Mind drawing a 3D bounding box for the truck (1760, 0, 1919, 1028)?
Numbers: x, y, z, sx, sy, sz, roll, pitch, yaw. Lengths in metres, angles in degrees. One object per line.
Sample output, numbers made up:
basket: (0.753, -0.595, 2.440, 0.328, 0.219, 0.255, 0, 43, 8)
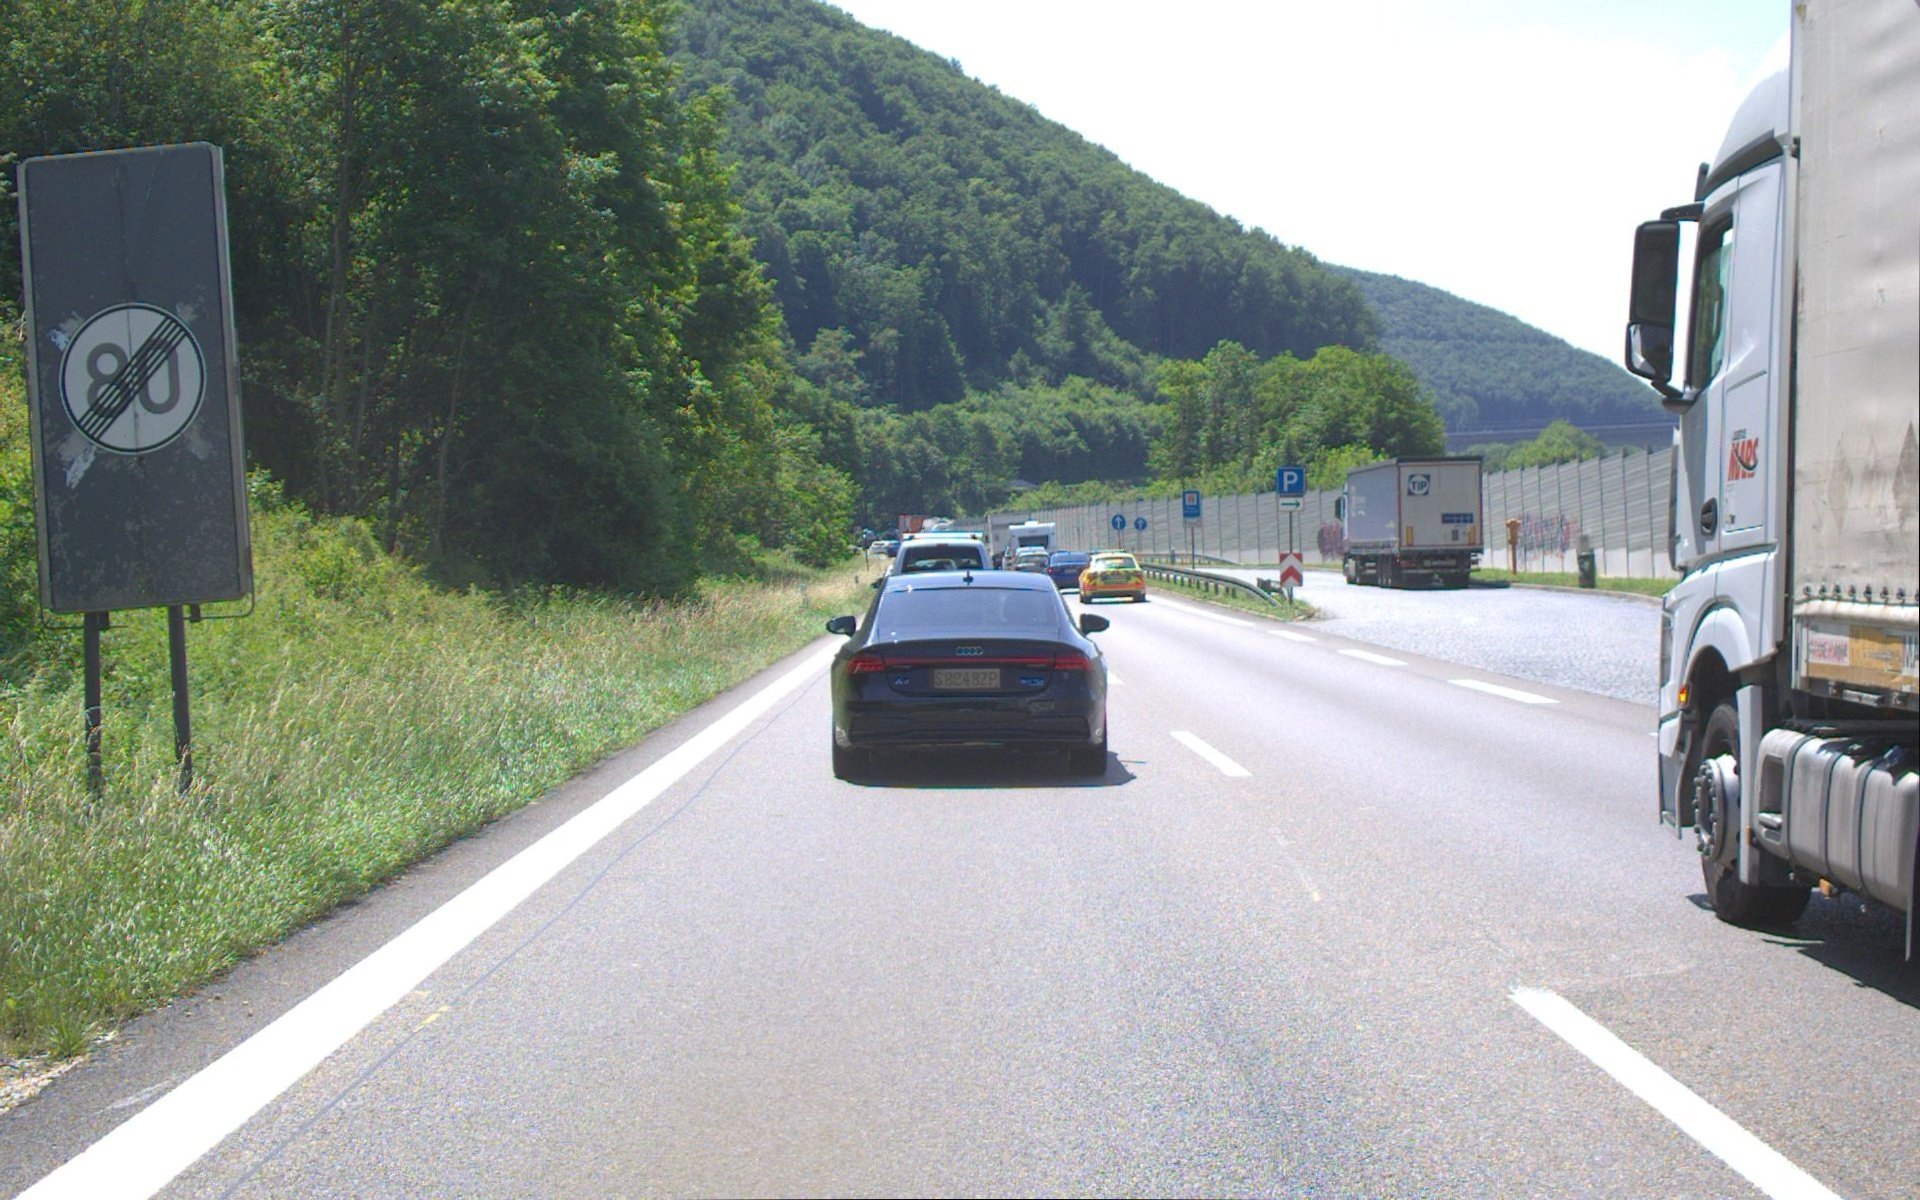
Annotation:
truck: (4.385, -0.677, 5.892, 2.726, 4.054, 13.741, 1, 0, 0)

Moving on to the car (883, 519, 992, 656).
car: (-0.348, -0.198, 52.313, 1.521, 1.961, 3.514, 2, 0, 0)

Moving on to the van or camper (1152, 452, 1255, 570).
van or camper: (8.331, -3.000, 118.262, 2.794, 3.828, 6.167, 1, 0, -2)

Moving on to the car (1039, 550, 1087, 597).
car: (3.524, -0.899, 118.230, 1.530, 1.520, 3.597, 1, 0, 0)

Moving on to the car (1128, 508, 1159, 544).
car: (10.514, -4.253, 197.410, 1.576, 2.007, 3.428, 0, 1, 0)

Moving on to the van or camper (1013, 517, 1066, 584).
van or camper: (3.900, -2.432, 170.339, 2.429, 3.144, 5.203, 1, 0, 0)

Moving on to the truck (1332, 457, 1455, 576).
truck: (14.456, -2.758, 115.065, 3.411, 3.887, 5.388, 0, 1, 0)

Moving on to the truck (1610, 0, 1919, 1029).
truck: (4.353, -0.681, 12.726, 2.719, 4.054, 5.754, 1, 0, 0)

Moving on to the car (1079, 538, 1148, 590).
car: (4.498, -1.058, 101.367, 1.879, 1.493, 4.000, 0, 1, 0)

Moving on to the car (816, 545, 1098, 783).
car: (0.027, 0.391, 24.190, 1.812, 1.509, 3.514, -1, 1, 2)

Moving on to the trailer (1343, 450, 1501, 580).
trailer: (14.484, -2.644, 108.680, 3.411, 3.887, 11.152, 0, 1, 0)

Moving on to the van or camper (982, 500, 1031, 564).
van or camper: (2.935, -4.301, 218.916, 2.794, 3.894, 6.167, 1, 0, -2)

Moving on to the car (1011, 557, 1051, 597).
car: (2.836, -0.913, 137.928, 1.530, 1.520, 3.597, 1, 0, 0)

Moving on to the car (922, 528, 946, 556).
car: (-1.861, -4.086, 242.092, 1.687, 2.007, 4.000, 0, 1, -1)
